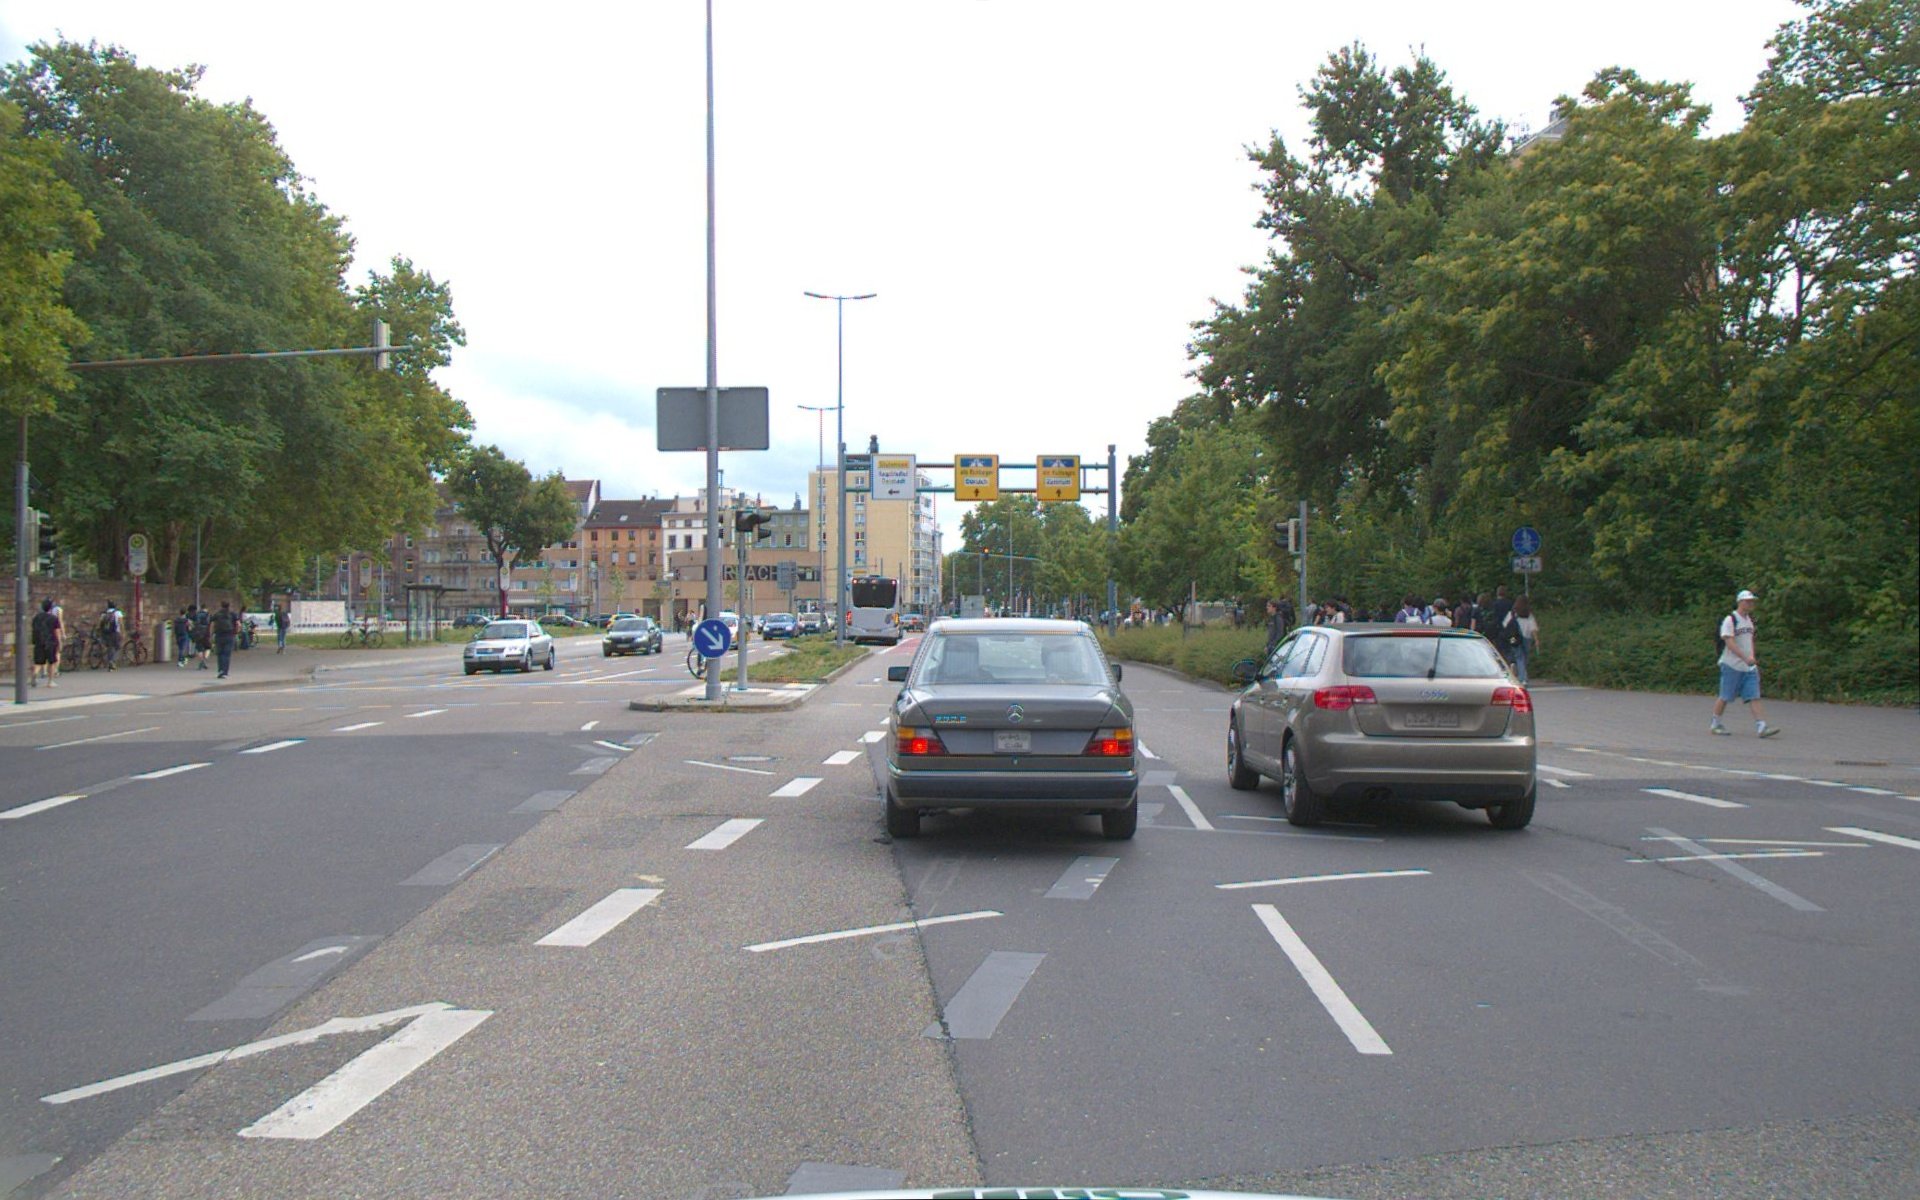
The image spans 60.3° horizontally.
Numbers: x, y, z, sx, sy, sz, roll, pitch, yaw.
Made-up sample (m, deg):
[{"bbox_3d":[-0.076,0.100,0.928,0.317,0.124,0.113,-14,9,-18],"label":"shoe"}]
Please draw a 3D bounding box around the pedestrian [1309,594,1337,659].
[{"bbox_3d":[9.562,0.696,43.573,0.544,1.684,0.753,-1,0,-1],"label":"pedestrian"}]

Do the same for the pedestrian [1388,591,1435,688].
[{"bbox_3d":[8.451,0.731,30.990,0.612,1.776,0.779,-1,0,-3],"label":"pedestrian"}]

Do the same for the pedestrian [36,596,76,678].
[{"bbox_3d":[-20.262,0.832,37.075,0.751,1.814,0.905,1,-2,-30],"label":"pedestrian"}]

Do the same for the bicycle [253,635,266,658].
[{"bbox_3d":[-29.845,1.973,70.450,0.474,0.923,1.609,0,0,-23],"label":"bicycle"}]

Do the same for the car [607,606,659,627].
[{"bbox_3d":[-25.355,1.285,128.385,3.782,1.544,1.658,1,0,-6],"label":"car"}]

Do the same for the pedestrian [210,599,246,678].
[{"bbox_3d":[-17.037,0.895,38.498,0.749,1.814,0.716,1,-2,-25],"label":"pedestrian"}]

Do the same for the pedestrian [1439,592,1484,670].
[{"bbox_3d":[10.994,0.671,36.267,0.643,1.696,0.970,-1,0,-3],"label":"pedestrian"}]

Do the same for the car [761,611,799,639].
[{"bbox_3d":[-9.993,1.392,92.026,1.765,1.538,4.102,0,-1,-2],"label":"car"}]

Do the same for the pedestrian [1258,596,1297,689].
[{"bbox_3d":[6.096,0.817,31.741,0.589,1.765,0.654,0,-1,-3],"label":"pedestrian"}]

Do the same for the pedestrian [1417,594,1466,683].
[{"bbox_3d":[9.984,0.798,34.346,0.643,1.797,0.957,-2,0,-3],"label":"pedestrian"}]

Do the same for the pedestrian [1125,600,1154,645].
[{"bbox_3d":[7.416,0.917,68.343,0.916,1.862,0.886,-1,-1,26],"label":"pedestrian"}]

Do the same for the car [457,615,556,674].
[{"bbox_3d":[-12.453,1.184,45.697,1.726,1.515,4.542,0,0,-4],"label":"car"}]

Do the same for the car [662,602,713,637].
[{"bbox_3d":[-13.195,0.935,80.393,1.826,1.681,4.421,0,0,-1],"label":"car"}]

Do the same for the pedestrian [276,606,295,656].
[{"bbox_3d":[-23.301,1.070,57.129,0.551,1.697,0.623,0,-2,-18],"label":"pedestrian"}]

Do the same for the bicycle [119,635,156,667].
[{"bbox_3d":[-22.485,1.386,45.249,0.433,0.811,1.617,2,0,-10],"label":"bicycle"}]

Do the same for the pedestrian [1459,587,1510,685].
[{"bbox_3d":[9.739,0.663,30.717,0.643,1.776,0.779,-1,0,-3],"label":"pedestrian"}]

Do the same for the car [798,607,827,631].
[{"bbox_3d":[-9.877,1.288,111.159,1.539,1.515,3.636,-2,0,0],"label":"car"}]

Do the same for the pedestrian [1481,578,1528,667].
[{"bbox_3d":[11.009,0.447,33.432,0.643,1.776,0.779,-1,0,-3],"label":"pedestrian"}]

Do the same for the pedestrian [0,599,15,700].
[{"bbox_3d":[-17.622,0.904,30.049,0.751,1.814,0.776,1,-2,-31],"label":"pedestrian"}]

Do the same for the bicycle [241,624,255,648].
[{"bbox_3d":[-27.280,1.388,63.365,0.341,0.893,1.514,2,-1,-18],"label":"bicycle"}]

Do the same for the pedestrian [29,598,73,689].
[{"bbox_3d":[-18.262,0.873,33.229,0.751,1.814,0.776,1,-2,-30],"label":"pedestrian"}]

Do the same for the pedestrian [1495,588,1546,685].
[{"bbox_3d":[10.425,0.674,30.761,0.643,1.776,0.779,-1,0,-3],"label":"pedestrian"}]

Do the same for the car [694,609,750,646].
[{"bbox_3d":[-10.185,1.142,70.939,1.765,1.515,4.288,0,0,0],"label":"car"}]

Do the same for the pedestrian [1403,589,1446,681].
[{"bbox_3d":[9.172,0.687,32.679,0.569,1.776,0.789,-1,0,-3],"label":"pedestrian"}]

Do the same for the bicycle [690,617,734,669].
[{"bbox_3d":[-5.266,0.898,35.183,0.561,1.074,1.927,0,0,3],"label":"bicycle"}]

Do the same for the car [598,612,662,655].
[{"bbox_3d":[-13.312,1.318,66.917,1.859,1.644,4.741,0,0,-3],"label":"car"}]

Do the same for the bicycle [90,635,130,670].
[{"bbox_3d":[-22.101,1.353,43.021,0.433,0.811,1.617,2,0,-10],"label":"bicycle"}]

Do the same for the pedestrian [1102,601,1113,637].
[{"bbox_3d":[8.570,1.101,96.197,0.602,2.049,0.597,0,-1,-2],"label":"pedestrian"}]

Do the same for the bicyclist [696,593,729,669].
[{"bbox_3d":[-5.267,0.660,35.151,0.560,1.601,0.699,0,0,3],"label":"bicyclist"}]

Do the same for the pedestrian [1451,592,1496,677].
[{"bbox_3d":[10.666,0.709,34.385,0.643,1.729,0.779,-1,0,-3],"label":"pedestrian"}]

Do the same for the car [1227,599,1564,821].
[{"bbox_3d":[3.228,0.742,12.988,1.689,1.483,3.736,0,0,0],"label":"car"}]

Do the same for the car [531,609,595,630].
[{"bbox_3d":[-30.646,1.487,127.867,4.579,1.501,1.658,1,-1,-6],"label":"car"}]

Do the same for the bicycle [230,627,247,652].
[{"bbox_3d":[-26.699,1.454,61.208,0.410,0.893,1.547,2,-1,-18],"label":"bicycle"}]

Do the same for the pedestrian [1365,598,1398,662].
[{"bbox_3d":[10.833,0.767,42.549,0.622,1.611,0.785,-1,0,-1],"label":"pedestrian"}]

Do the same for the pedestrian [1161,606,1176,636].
[{"bbox_3d":[10.405,1.052,82.644,0.643,1.496,0.562,-1,-1,16],"label":"pedestrian"}]

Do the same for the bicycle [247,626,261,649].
[{"bbox_3d":[-28.076,1.493,65.795,0.434,0.893,1.610,2,-1,-21],"label":"bicycle"}]

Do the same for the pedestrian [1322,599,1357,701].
[{"bbox_3d":[6.695,0.876,29.195,0.445,1.765,0.636,0,-1,-3],"label":"pedestrian"}]

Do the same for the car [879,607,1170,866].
[{"bbox_3d":[0.321,0.816,11.905,1.726,1.515,4.169,0,0,-2],"label":"car"}]

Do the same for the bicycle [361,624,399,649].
[{"bbox_3d":[-23.170,1.458,66.108,0.460,0.935,2.340,0,0,7],"label":"bicycle"}]

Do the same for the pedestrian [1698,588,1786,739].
[{"bbox_3d":[10.003,0.805,21.172,0.634,1.885,0.826,1,-1,-15],"label":"pedestrian"}]

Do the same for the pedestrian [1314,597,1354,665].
[{"bbox_3d":[9.123,0.754,40.345,0.759,1.630,0.812,-1,0,-1],"label":"pedestrian"}]

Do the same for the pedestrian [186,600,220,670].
[{"bbox_3d":[-20.026,0.926,43.743,0.751,1.814,0.915,1,-2,-30],"label":"pedestrian"}]

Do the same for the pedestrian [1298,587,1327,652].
[{"bbox_3d":[9.693,0.526,45.512,0.606,1.766,0.814,-1,0,-1],"label":"pedestrian"}]

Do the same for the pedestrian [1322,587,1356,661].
[{"bbox_3d":[9.562,0.595,41.777,0.642,1.853,0.812,-1,0,-1],"label":"pedestrian"}]

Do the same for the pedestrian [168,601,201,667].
[{"bbox_3d":[-21.314,0.941,45.474,0.751,1.814,0.776,1,-2,-30],"label":"pedestrian"}]

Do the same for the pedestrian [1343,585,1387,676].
[{"bbox_3d":[7.967,0.593,32.563,0.643,1.776,0.779,-1,0,-3],"label":"pedestrian"}]

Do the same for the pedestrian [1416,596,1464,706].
[{"bbox_3d":[7.635,0.806,26.332,0.535,1.716,0.636,0,-1,-3],"label":"pedestrian"}]

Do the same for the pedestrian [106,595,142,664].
[{"bbox_3d":[-20.925,0.738,41.374,0.751,1.700,0.915,1,0,-30],"label":"pedestrian"}]

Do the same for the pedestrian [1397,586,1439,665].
[{"bbox_3d":[10.041,0.554,36.266,0.643,1.719,0.841,-1,0,-3],"label":"pedestrian"}]

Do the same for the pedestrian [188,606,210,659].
[{"bbox_3d":[-23.515,1.012,51.090,0.578,1.620,0.730,1,-2,-24],"label":"pedestrian"}]

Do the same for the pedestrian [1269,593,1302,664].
[{"bbox_3d":[8.605,0.739,43.748,0.679,1.853,0.954,-1,0,-1],"label":"pedestrian"}]

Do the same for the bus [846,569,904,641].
[{"bbox_3d":[-4.243,0.240,83.044,2.775,3.450,8.178,0,0,-3],"label":"bus"}]

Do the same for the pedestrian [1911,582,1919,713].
[{"bbox_3d":[13.664,0.661,22.798,0.633,1.827,0.738,1,-1,-11],"label":"pedestrian"}]

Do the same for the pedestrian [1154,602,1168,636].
[{"bbox_3d":[10.575,0.995,86.918,0.632,1.743,0.562,-1,-1,14],"label":"pedestrian"}]

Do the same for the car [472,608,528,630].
[{"bbox_3d":[-36.490,1.471,131.328,4.075,1.678,1.644,-1,0,-7],"label":"car"}]

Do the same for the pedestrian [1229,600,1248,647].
[{"bbox_3d":[10.243,0.876,60.848,0.575,1.712,0.748,-1,0,-1],"label":"pedestrian"}]

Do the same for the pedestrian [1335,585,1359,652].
[{"bbox_3d":[10.477,0.502,44.770,0.474,1.794,0.664,-1,0,-1],"label":"pedestrian"}]
